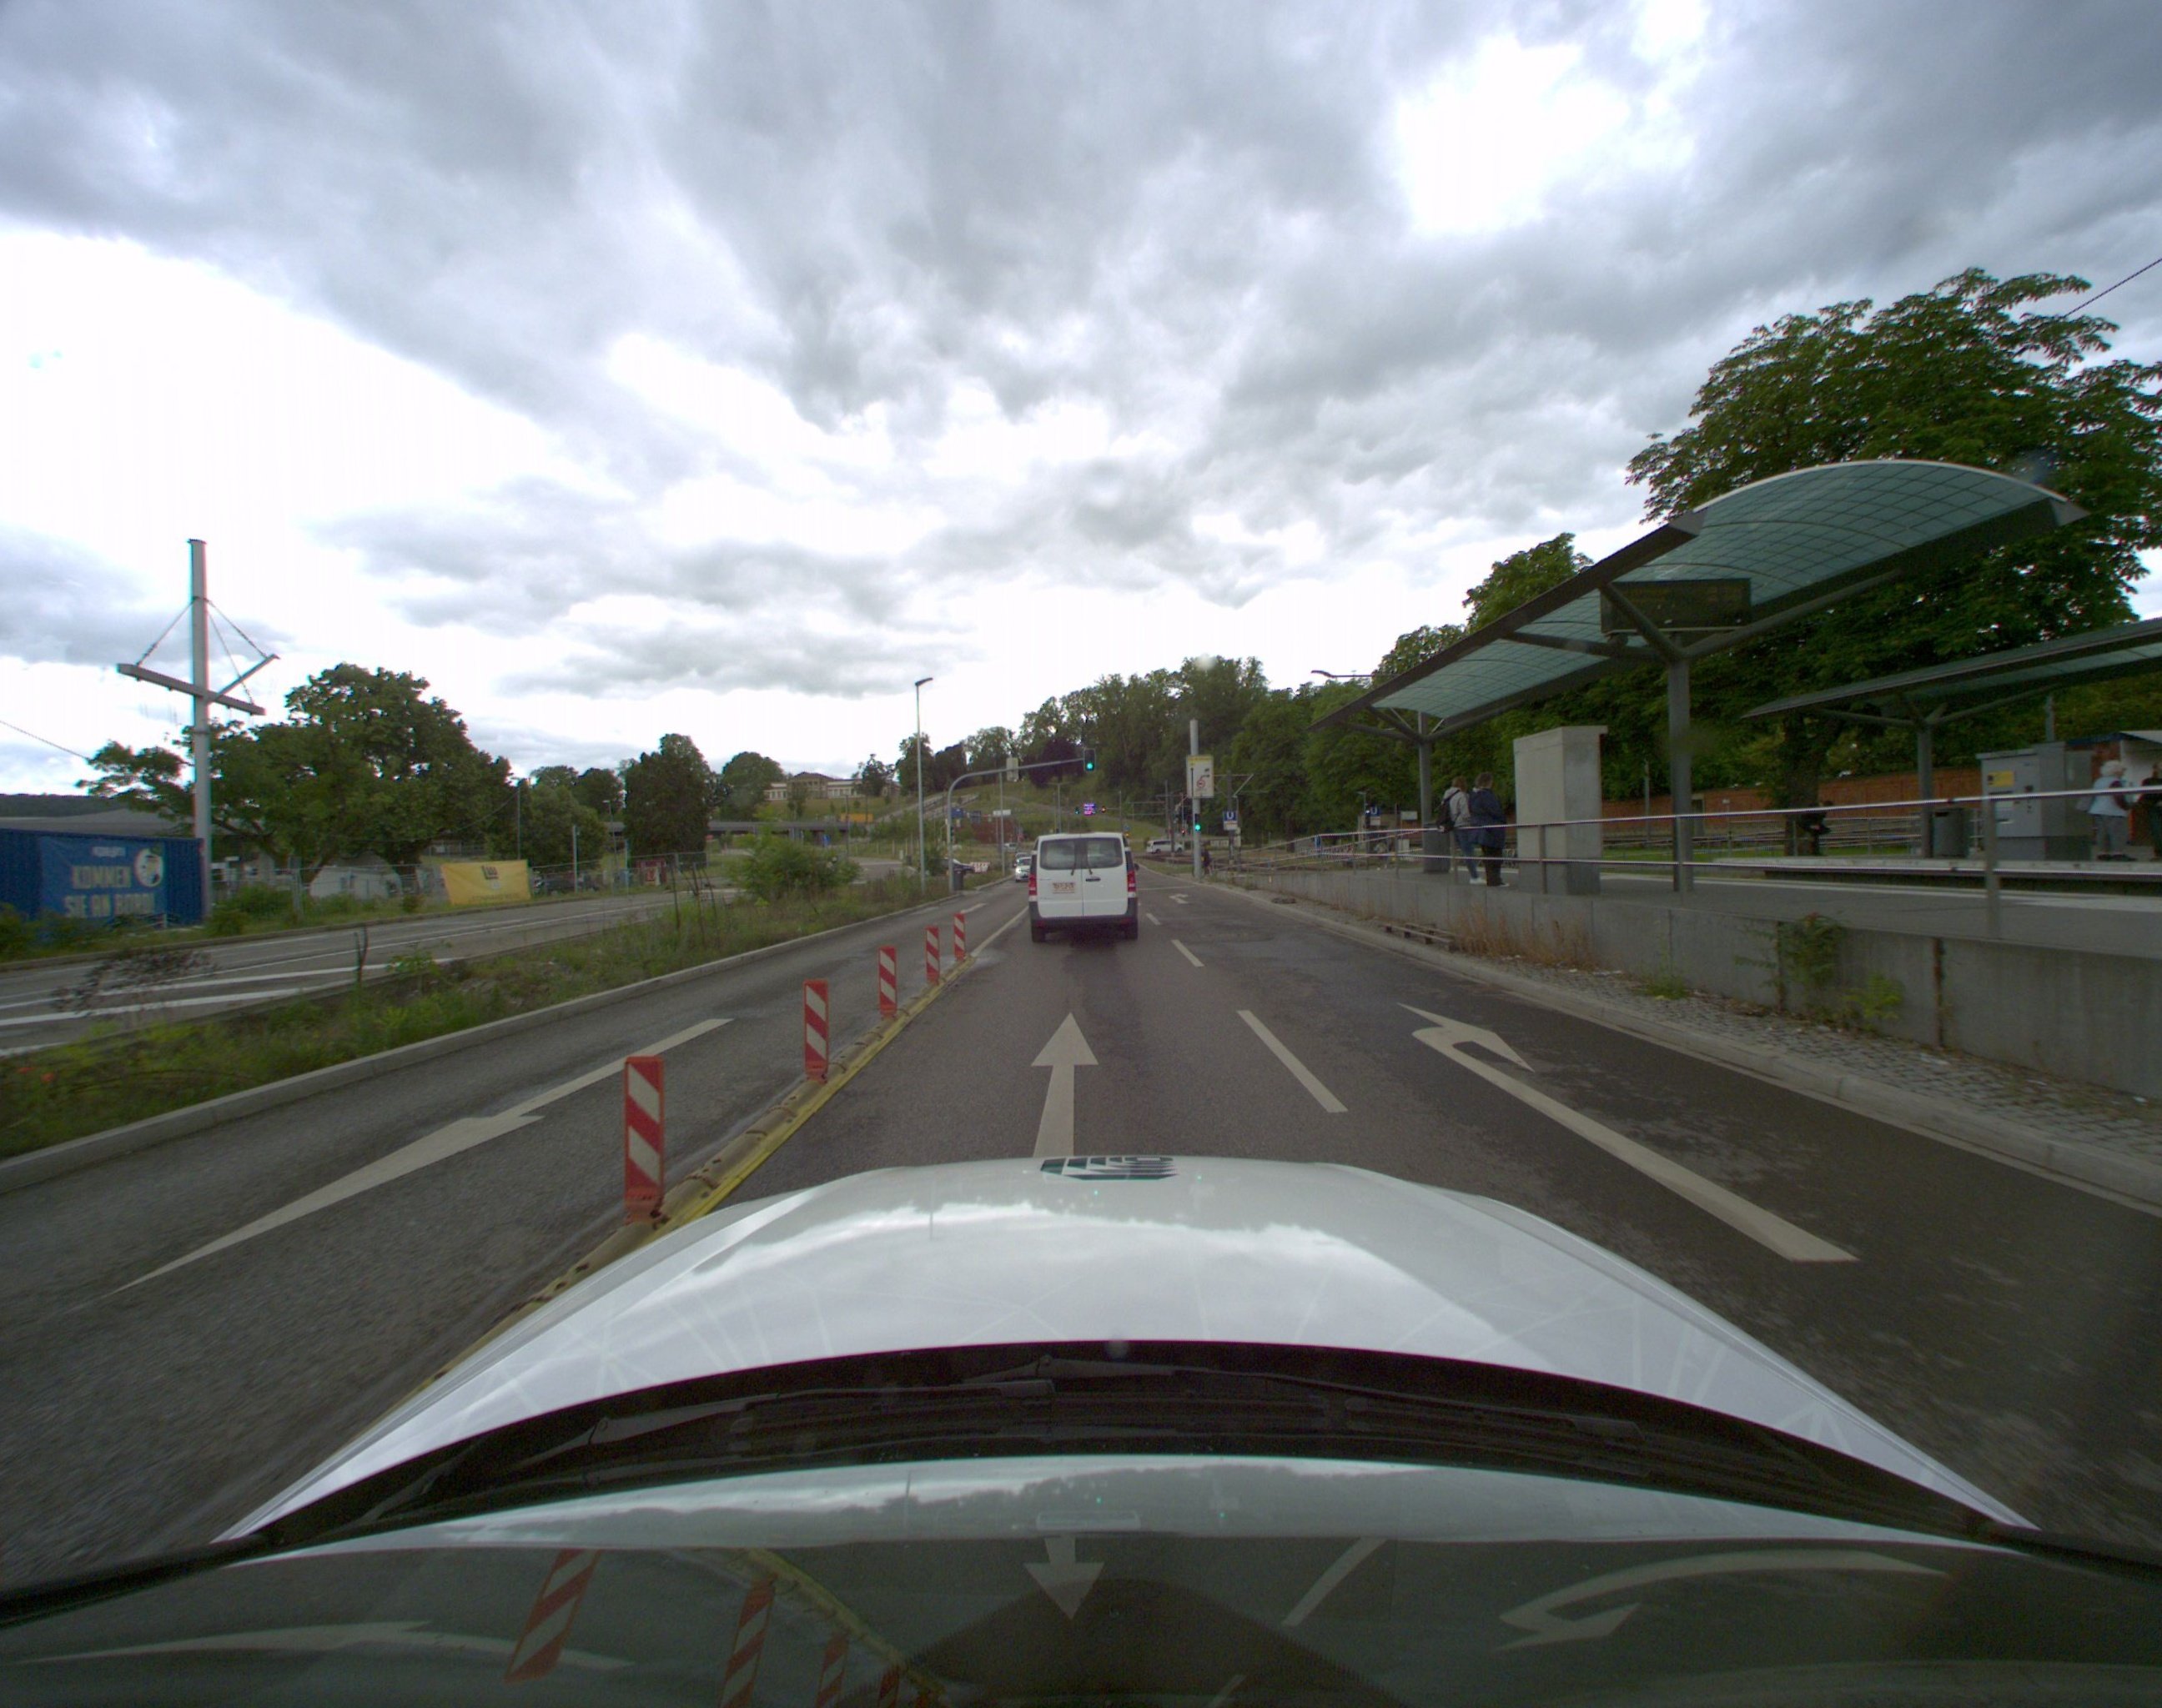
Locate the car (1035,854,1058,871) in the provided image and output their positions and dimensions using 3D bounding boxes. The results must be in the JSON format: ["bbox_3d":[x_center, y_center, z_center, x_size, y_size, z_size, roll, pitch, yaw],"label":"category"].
[{"bbox_3d":[-2.890,0.708,68.834,1.724,1.421,4.444,1,0,0],"label":"car"}]

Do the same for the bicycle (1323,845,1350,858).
[{"bbox_3d":[20.321,-0.189,64.774,1.906,0.975,0.531,-2,0,0],"label":"bicycle"}]

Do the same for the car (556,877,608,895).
[{"bbox_3d":[-43.783,2.785,71.517,1.581,1.291,3.530,-2,0,39],"label":"car"}]

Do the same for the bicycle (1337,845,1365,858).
[{"bbox_3d":[20.565,-0.181,62.074,1.906,0.895,0.531,-2,0,0],"label":"bicycle"}]

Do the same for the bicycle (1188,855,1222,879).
[{"bbox_3d":[6.026,0.621,39.507,1.693,1.074,0.613,-3,2,-39],"label":"bicycle"}]

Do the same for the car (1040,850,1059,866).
[{"bbox_3d":[-3.264,0.395,85.301,1.725,1.529,4.444,-3,0,0],"label":"car"}]

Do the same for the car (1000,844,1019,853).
[{"bbox_3d":[-12.951,-0.950,147.341,1.947,1.627,3.966,-1,0,-26],"label":"car"}]

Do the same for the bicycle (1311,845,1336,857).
[{"bbox_3d":[20.403,-0.255,68.534,1.906,0.975,0.531,-2,0,0],"label":"bicycle"}]

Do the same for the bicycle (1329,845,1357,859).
[{"bbox_3d":[20.322,-0.141,63.187,1.906,0.975,0.531,-2,0,0],"label":"bicycle"}]

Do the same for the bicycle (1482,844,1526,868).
[{"bbox_3d":[20.348,0.085,39.212,1.866,1.139,0.532,0,0,0],"label":"bicycle"}]

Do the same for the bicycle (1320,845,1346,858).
[{"bbox_3d":[20.296,-0.183,65.515,1.906,0.975,0.531,-2,0,0],"label":"bicycle"}]

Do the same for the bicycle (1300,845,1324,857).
[{"bbox_3d":[20.147,-0.229,71.057,1.906,0.975,0.531,-2,0,0],"label":"bicycle"}]

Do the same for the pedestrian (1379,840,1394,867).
[{"bbox_3d":[17.050,-0.024,45.395,0.498,1.502,0.512,-3,0,-22],"label":"pedestrian"}]

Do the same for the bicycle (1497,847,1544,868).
[{"bbox_3d":[20.174,0.166,37.420,1.866,0.963,0.532,0,0,0],"label":"bicycle"}]

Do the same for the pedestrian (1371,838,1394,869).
[{"bbox_3d":[16.401,-0.023,44.298,0.836,1.609,0.772,-3,0,-22],"label":"pedestrian"}]

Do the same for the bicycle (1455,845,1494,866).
[{"bbox_3d":[20.066,0.073,41.563,1.757,1.034,0.483,0,0,0],"label":"bicycle"}]

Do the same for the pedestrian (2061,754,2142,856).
[{"bbox_3d":[17.210,-0.800,13.746,0.542,1.677,0.675,0,0,-3],"label":"pedestrian"}]

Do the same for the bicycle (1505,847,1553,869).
[{"bbox_3d":[20.188,0.174,36.694,1.866,0.963,0.532,0,0,0],"label":"bicycle"}]

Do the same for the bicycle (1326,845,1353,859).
[{"bbox_3d":[20.279,-0.139,63.834,1.906,0.975,0.531,-2,0,0],"label":"bicycle"}]

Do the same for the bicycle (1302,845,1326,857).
[{"bbox_3d":[20.059,-0.232,70.076,1.906,0.975,0.531,-2,0,0],"label":"bicycle"}]

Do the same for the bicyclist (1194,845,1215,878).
[{"bbox_3d":[5.987,0.348,39.475,0.810,1.572,0.611,-2,2,-39],"label":"bicyclist"}]

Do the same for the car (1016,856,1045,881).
[{"bbox_3d":[-3.212,0.906,52.220,1.586,1.517,4.084,-2,0,0],"label":"car"}]

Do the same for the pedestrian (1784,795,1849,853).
[{"bbox_3d":[17.474,-0.698,19.366,0.671,1.323,0.967,0,0,-1],"label":"pedestrian"}]

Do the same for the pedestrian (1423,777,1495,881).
[{"bbox_3d":[5.838,-0.391,12.621,0.747,1.553,0.775,0,2,2],"label":"pedestrian"}]

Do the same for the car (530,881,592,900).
[{"bbox_3d":[-42.115,2.926,66.015,1.782,1.291,3.945,-2,0,45],"label":"car"}]

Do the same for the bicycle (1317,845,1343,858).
[{"bbox_3d":[20.290,-0.193,66.297,1.906,0.975,0.531,-2,0,0],"label":"bicycle"}]

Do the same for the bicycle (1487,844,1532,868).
[{"bbox_3d":[20.114,0.089,38.257,1.866,1.139,0.532,0,0,0],"label":"bicycle"}]

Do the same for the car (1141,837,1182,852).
[{"bbox_3d":[10.969,-1.257,111.227,5.143,2.013,2.196,-1,0,-15],"label":"car"}]

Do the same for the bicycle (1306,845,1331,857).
[{"bbox_3d":[20.220,-0.244,69.349,1.906,0.975,0.531,-2,0,0],"label":"bicycle"}]

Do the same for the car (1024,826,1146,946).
[{"bbox_3d":[0.122,0.518,15.396,1.952,1.904,4.462,-1,0,1],"label":"car"}]

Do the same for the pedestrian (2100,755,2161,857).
[{"bbox_3d":[17.990,-0.792,13.780,0.672,1.677,0.676,0,0,-3],"label":"pedestrian"}]

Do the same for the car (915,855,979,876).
[{"bbox_3d":[-10.913,0.940,66.387,4.680,1.477,2.006,-2,1,10],"label":"car"}]

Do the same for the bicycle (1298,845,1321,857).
[{"bbox_3d":[20.201,-0.226,71.983,1.906,0.975,0.531,-2,0,0],"label":"bicycle"}]

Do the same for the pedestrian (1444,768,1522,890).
[{"bbox_3d":[5.826,-0.364,11.835,0.767,1.699,0.732,0,2,2],"label":"pedestrian"}]
